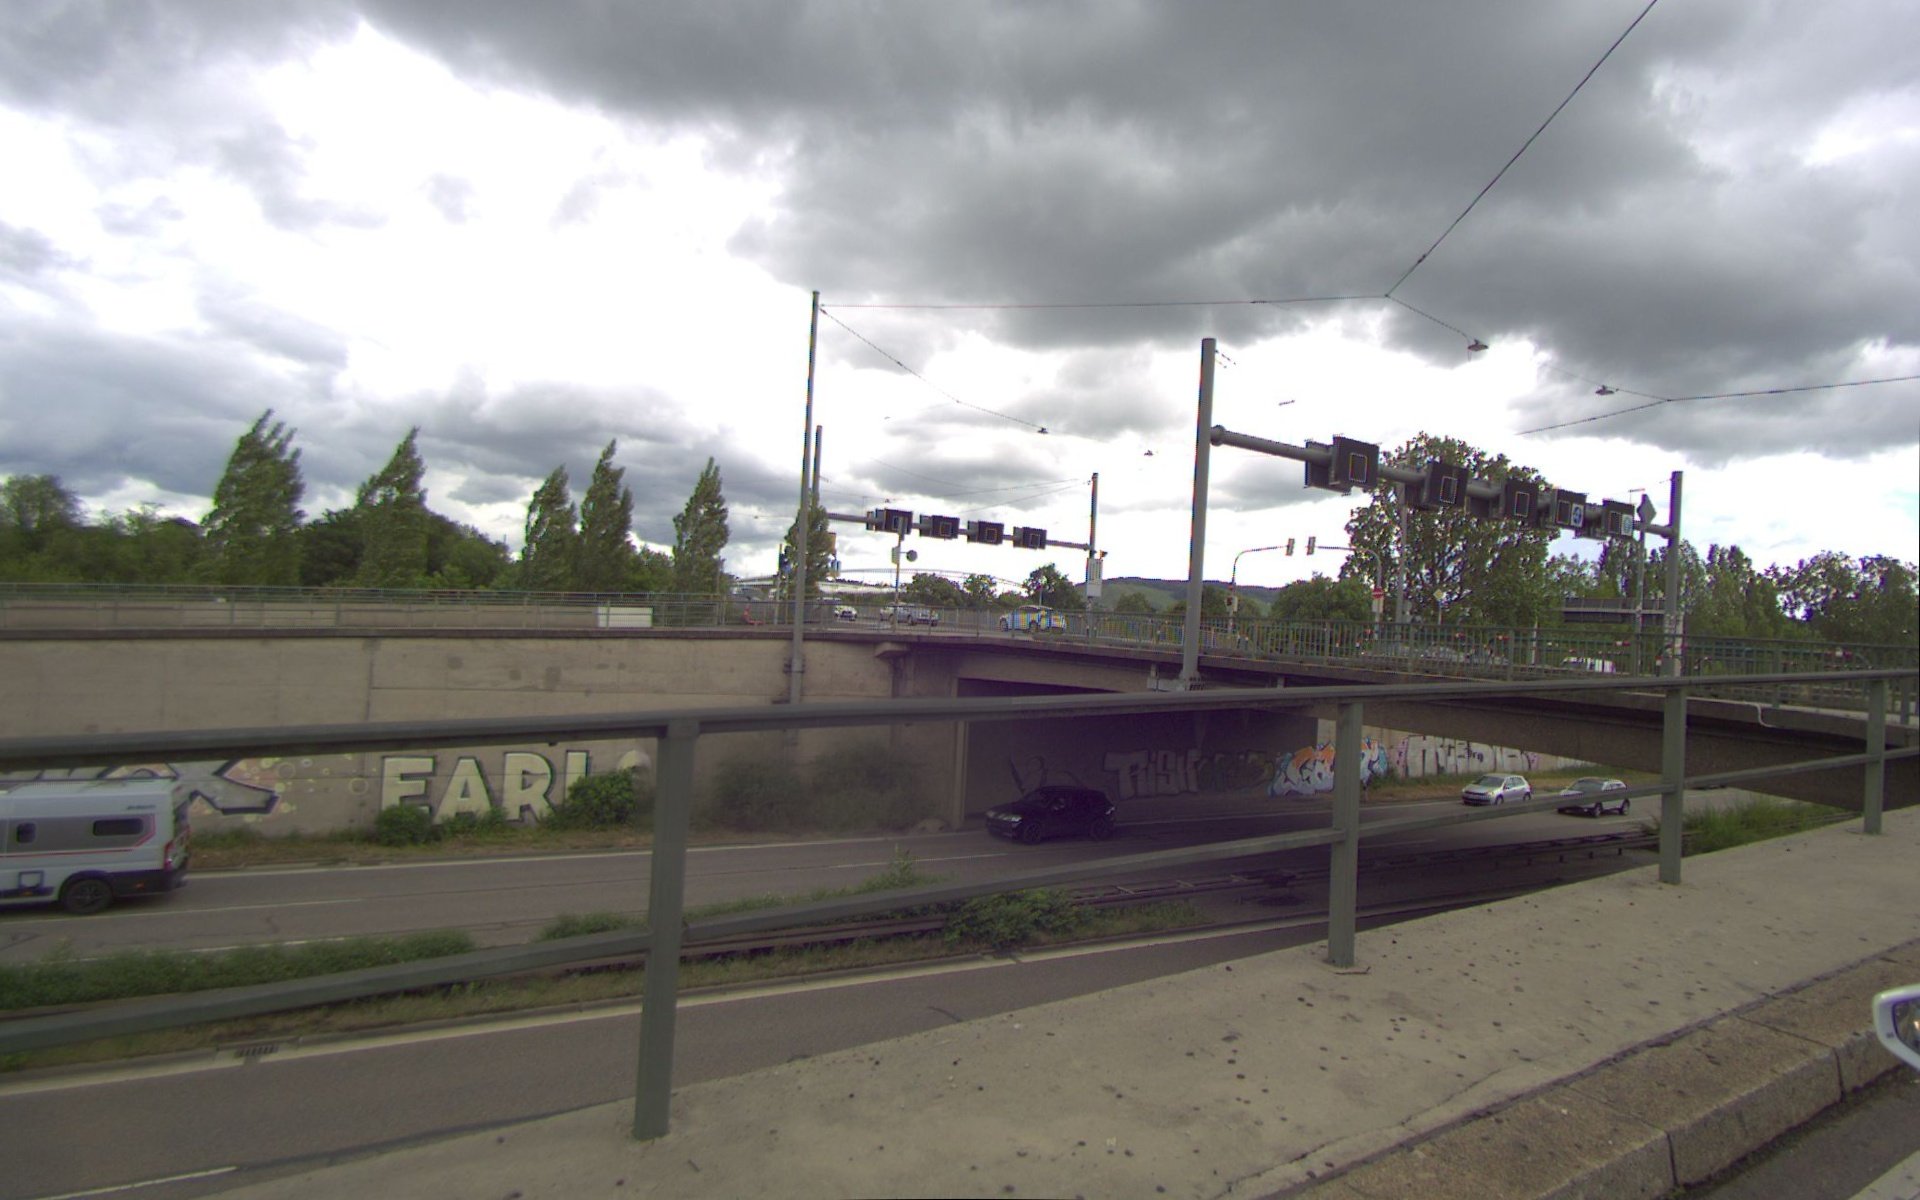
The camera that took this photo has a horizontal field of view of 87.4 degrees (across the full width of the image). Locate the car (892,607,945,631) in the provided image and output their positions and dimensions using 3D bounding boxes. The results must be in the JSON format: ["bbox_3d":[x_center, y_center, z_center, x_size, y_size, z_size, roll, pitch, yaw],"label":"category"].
[{"bbox_3d":[-2.551,1.112,60.488,1.537,1.372,3.860,1,-1,-31],"label":"car"}]

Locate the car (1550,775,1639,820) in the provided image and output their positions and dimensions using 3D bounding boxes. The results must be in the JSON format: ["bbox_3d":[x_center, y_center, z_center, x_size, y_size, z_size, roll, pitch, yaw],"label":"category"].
[{"bbox_3d":[30.398,9.424,48.116,4.257,1.637,1.877,4,-2,-30],"label":"car"}]

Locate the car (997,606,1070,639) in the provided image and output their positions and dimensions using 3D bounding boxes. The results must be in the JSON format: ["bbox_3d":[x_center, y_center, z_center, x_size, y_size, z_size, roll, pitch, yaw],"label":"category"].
[{"bbox_3d":[4.121,1.258,56.941,1.916,1.740,4.368,1,-1,-31],"label":"car"}]

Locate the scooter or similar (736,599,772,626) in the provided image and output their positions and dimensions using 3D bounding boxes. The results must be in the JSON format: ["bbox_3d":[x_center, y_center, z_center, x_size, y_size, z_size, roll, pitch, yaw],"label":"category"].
[{"bbox_3d":[-8.884,0.555,43.299,1.402,1.108,0.539,3,-2,-34],"label":"scooter or similar"}]

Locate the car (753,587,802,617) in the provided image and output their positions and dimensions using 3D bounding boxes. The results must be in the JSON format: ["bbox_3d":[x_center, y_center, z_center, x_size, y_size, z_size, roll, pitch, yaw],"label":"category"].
[{"bbox_3d":[-13.055,0.148,71.772,1.711,2.040,4.443,1,0,-35],"label":"car"}]

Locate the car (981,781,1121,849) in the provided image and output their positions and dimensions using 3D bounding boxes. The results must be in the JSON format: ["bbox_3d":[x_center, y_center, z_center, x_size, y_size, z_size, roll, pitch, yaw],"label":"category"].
[{"bbox_3d":[3.211,7.461,35.230,4.537,1.774,1.984,4,-2,-30],"label":"car"}]

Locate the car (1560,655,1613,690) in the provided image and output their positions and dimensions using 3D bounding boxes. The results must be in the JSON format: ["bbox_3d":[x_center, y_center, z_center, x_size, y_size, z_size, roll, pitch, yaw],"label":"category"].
[{"bbox_3d":[43.827,5.007,70.251,3.626,2.245,1.843,1,0,-35],"label":"car"}]

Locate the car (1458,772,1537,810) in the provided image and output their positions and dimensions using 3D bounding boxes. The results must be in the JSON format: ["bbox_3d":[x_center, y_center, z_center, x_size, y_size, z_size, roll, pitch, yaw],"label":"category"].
[{"bbox_3d":[26.694,9.442,49.882,3.877,1.476,1.674,4,-2,-30],"label":"car"}]

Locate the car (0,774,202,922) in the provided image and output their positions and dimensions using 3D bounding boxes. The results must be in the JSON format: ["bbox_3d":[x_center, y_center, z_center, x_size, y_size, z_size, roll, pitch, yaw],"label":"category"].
[{"bbox_3d":[-19.787,5.125,20.771,6.263,2.567,2.071,4,-3,-33],"label":"car"}]

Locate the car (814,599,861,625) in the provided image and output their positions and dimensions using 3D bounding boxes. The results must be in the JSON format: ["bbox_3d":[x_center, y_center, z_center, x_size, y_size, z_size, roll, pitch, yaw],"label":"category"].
[{"bbox_3d":[-7.749,0.751,63.390,1.560,1.587,3.715,1,0,-31],"label":"car"}]
